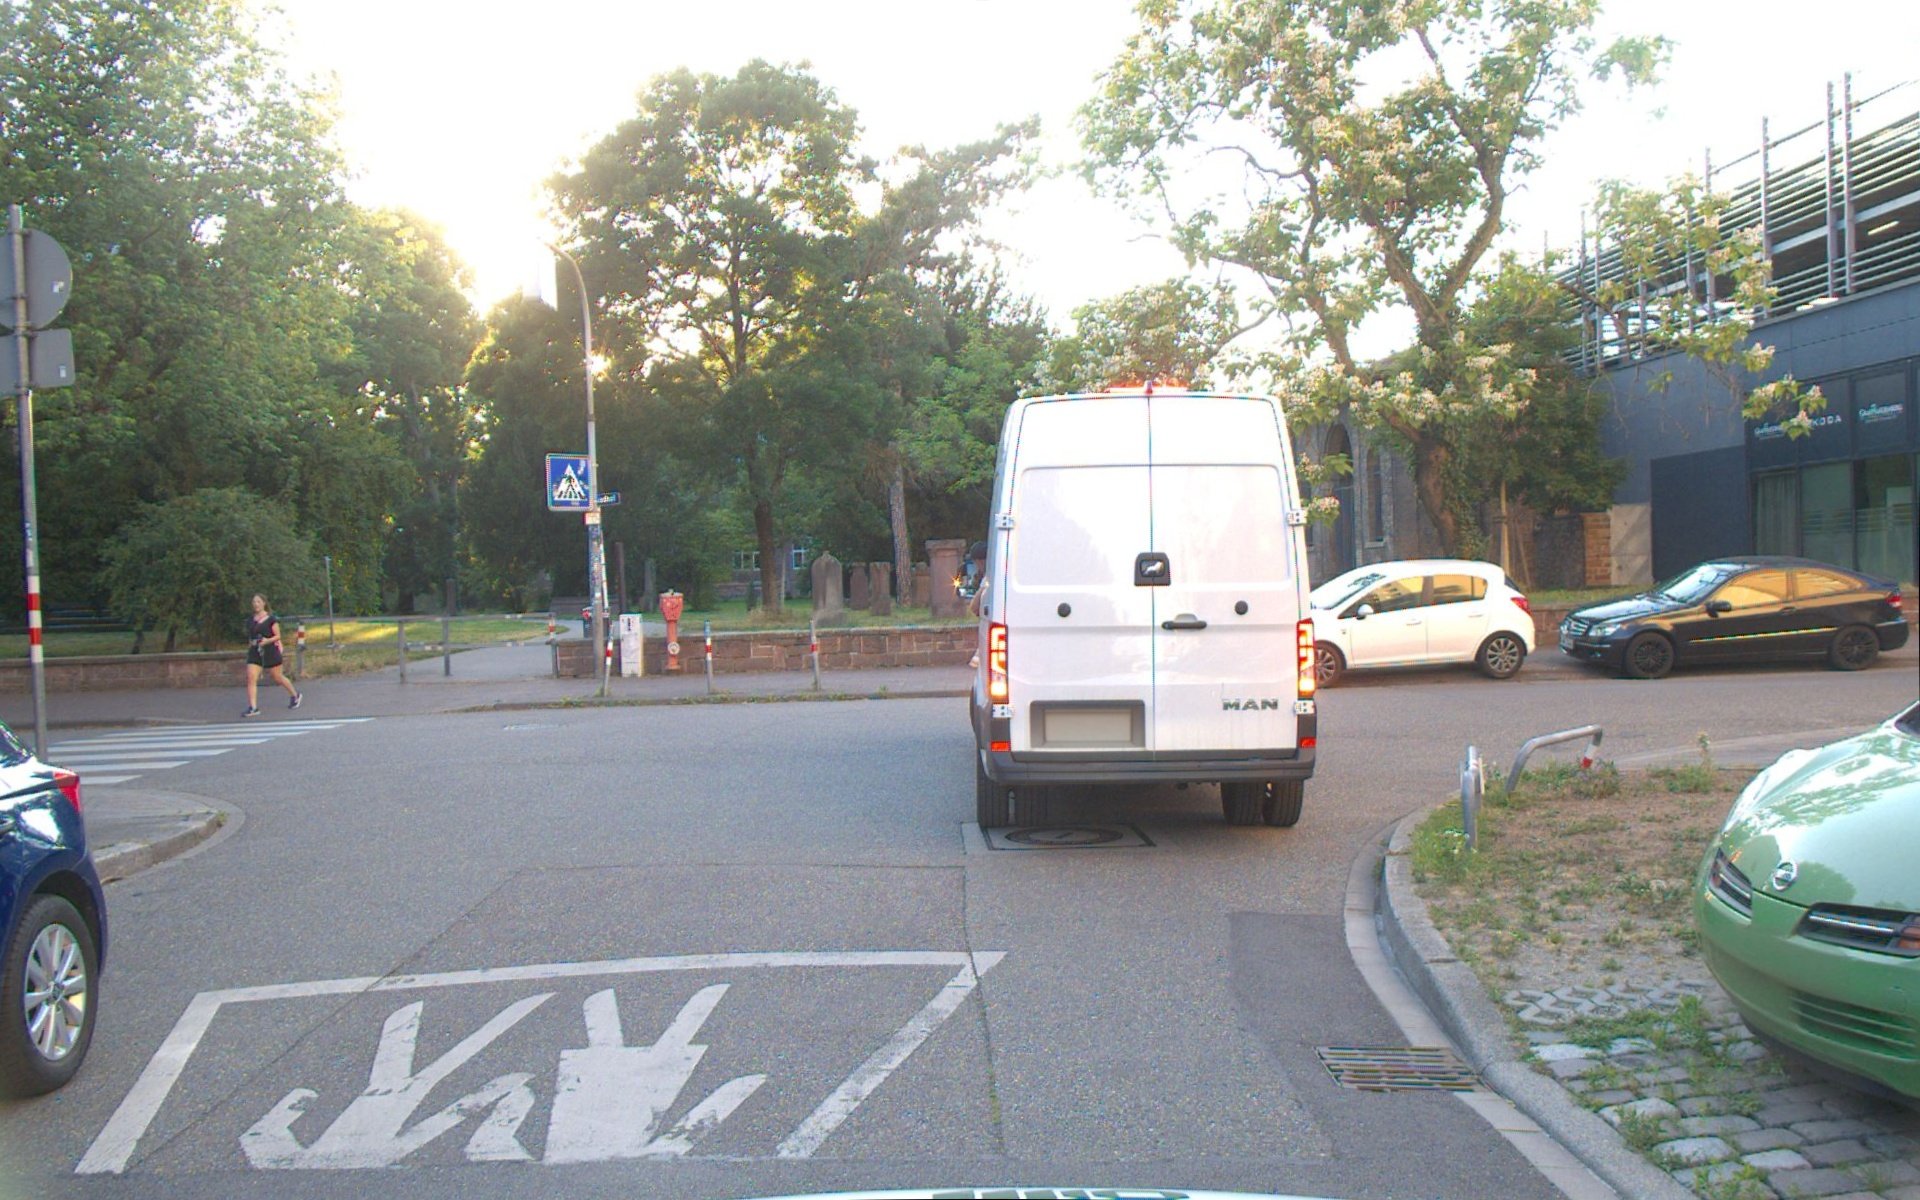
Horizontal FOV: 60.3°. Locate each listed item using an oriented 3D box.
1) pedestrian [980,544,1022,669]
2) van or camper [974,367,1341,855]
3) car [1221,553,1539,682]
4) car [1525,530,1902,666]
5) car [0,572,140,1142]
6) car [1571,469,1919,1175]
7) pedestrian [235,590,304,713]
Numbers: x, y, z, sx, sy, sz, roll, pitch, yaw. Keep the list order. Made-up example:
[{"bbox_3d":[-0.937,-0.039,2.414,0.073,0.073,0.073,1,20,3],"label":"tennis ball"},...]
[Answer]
[{"bbox_3d":[0.611,0.090,24.752,0.581,1.840,0.620,-1,0,-1],"label":"pedestrian"},{"bbox_3d":[1.106,0.014,12.231,1.953,2.664,6.403,0,1,0],"label":"van or camper"},{"bbox_3d":[5.648,0.209,22.548,3.779,1.601,1.957,-1,1,-4],"label":"car"},{"bbox_3d":[10.056,-0.035,22.325,4.204,1.529,1.824,-3,1,2],"label":"car"},{"bbox_3d":[-3.485,0.775,3.602,1.700,1.594,3.787,-3,1,-5],"label":"car"},{"bbox_3d":[4.328,0.432,4.854,4.318,1.660,1.844,-3,-1,-5],"label":"car"},{"bbox_3d":[-9.663,0.706,23.146,0.637,1.677,0.670,0,1,41],"label":"pedestrian"}]
